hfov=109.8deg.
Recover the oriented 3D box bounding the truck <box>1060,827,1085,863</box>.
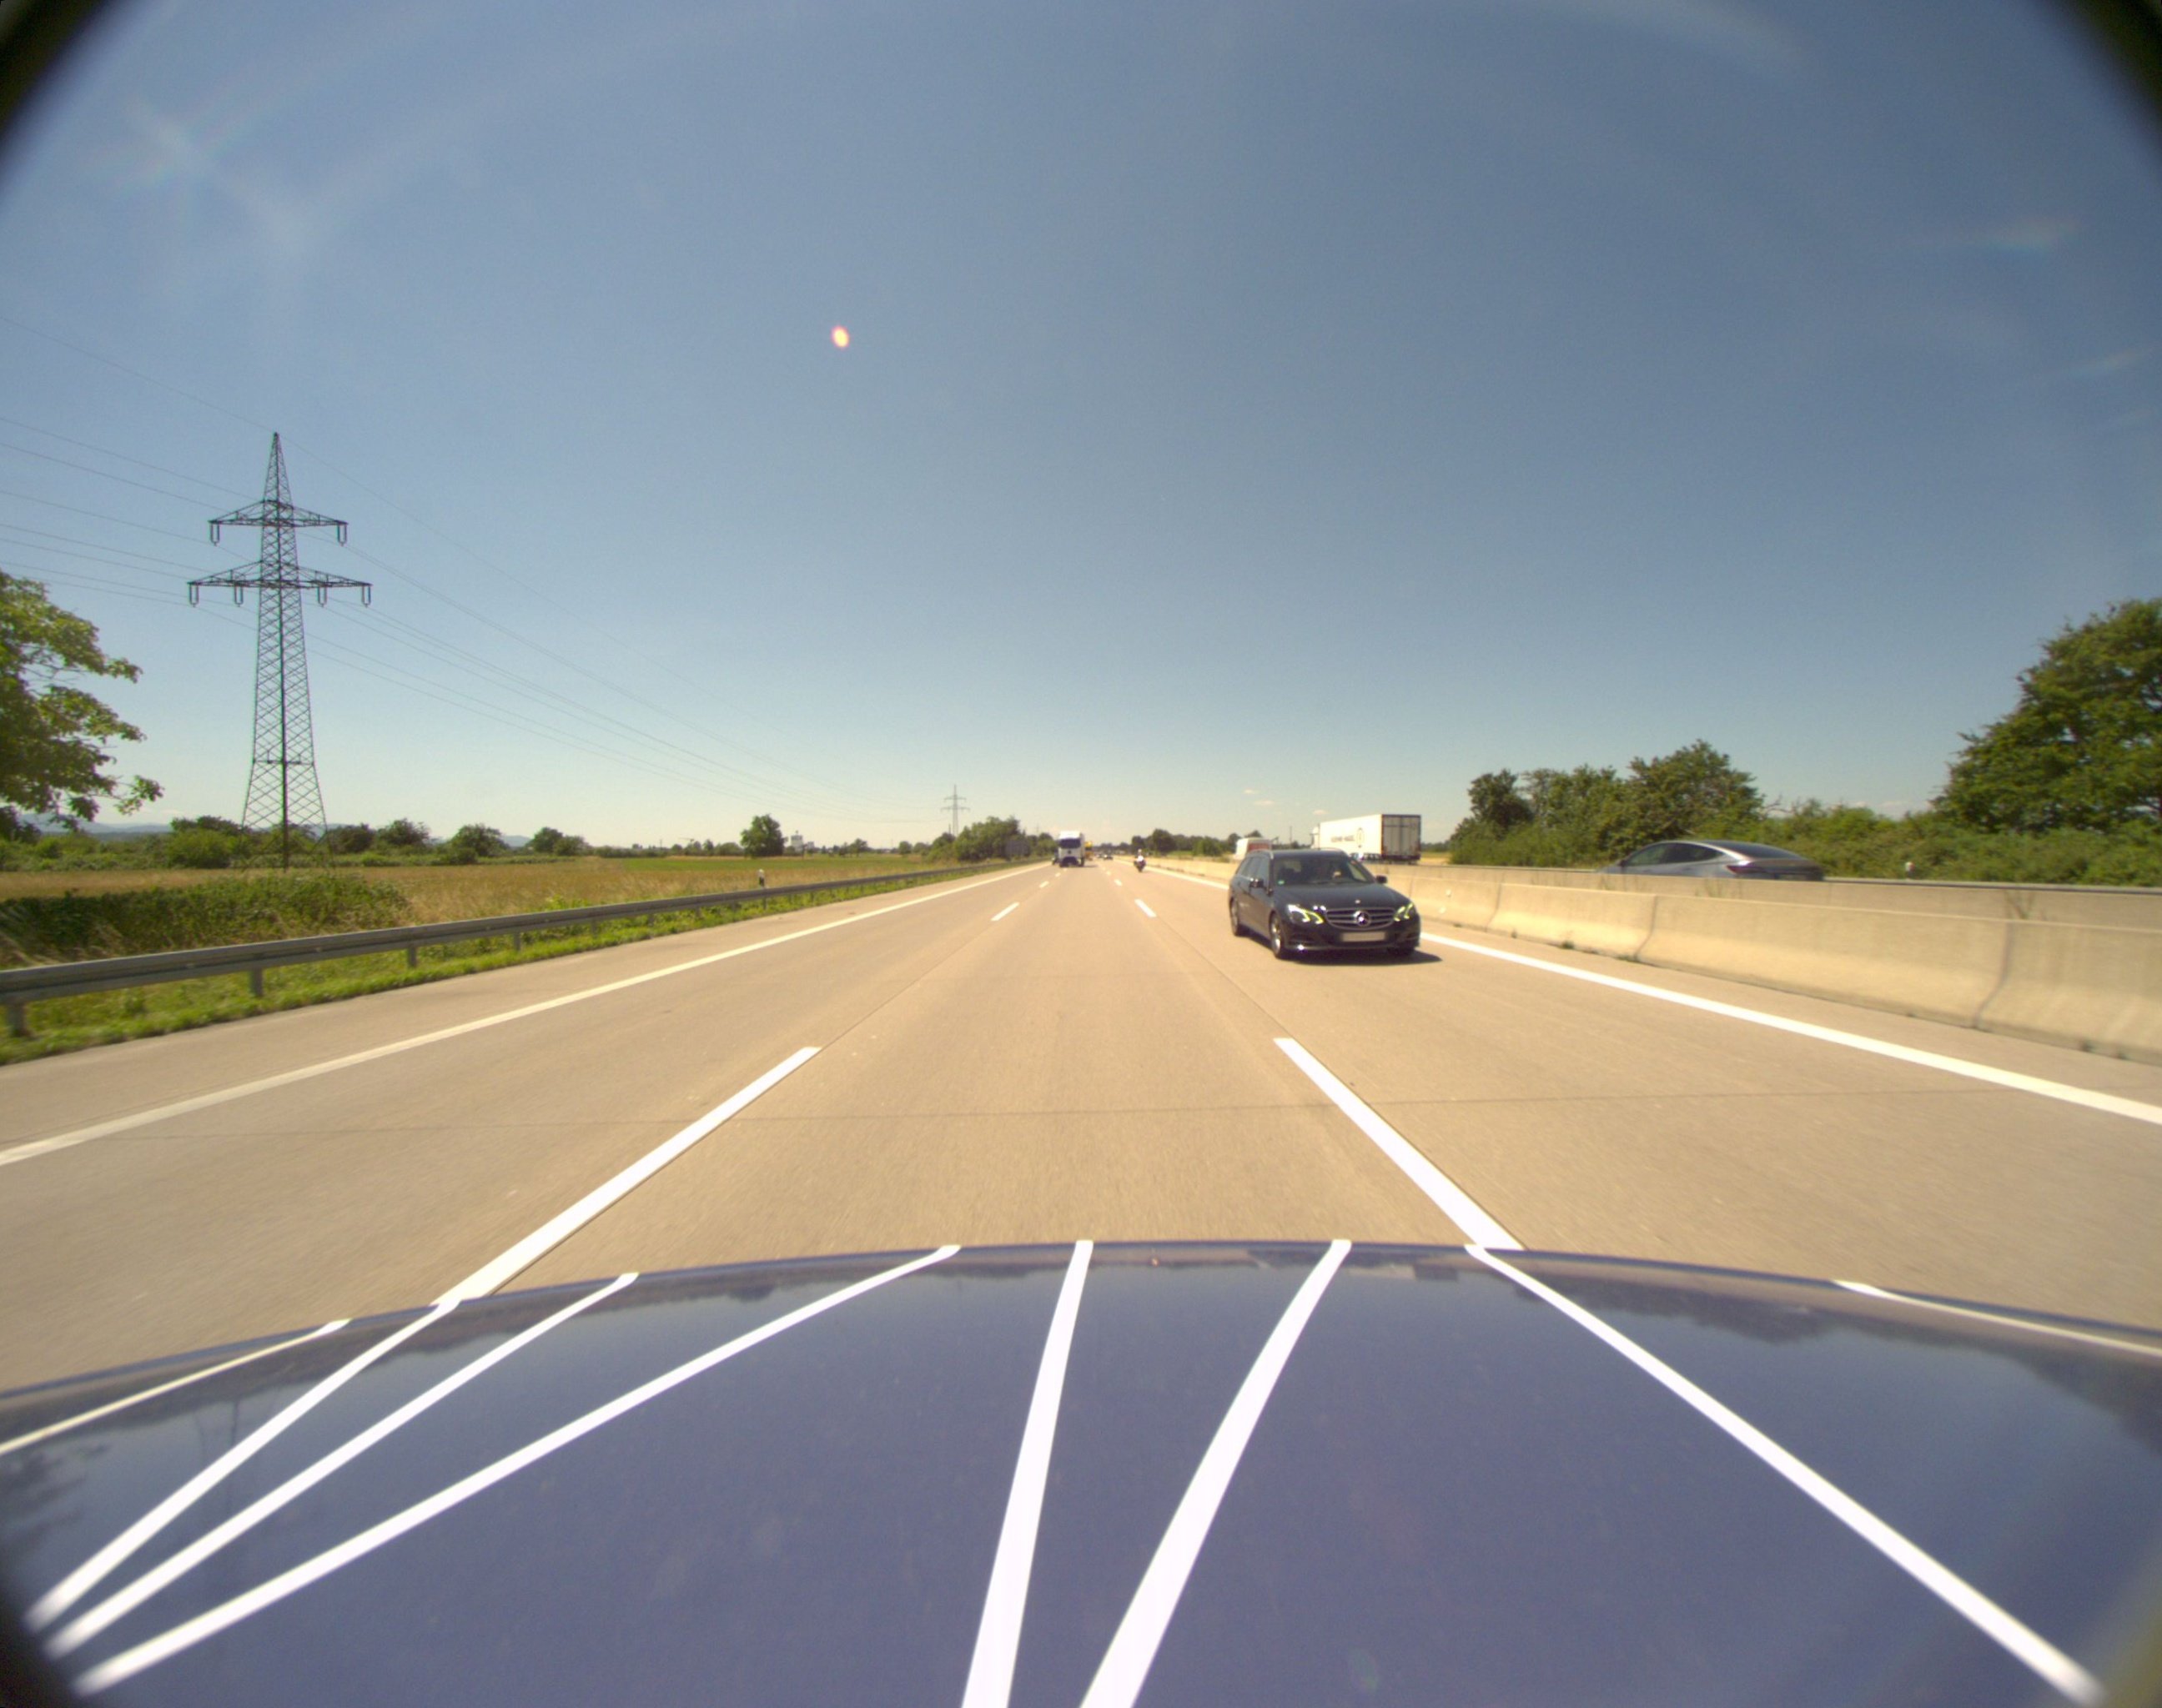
[{"bbox_3d":[-0.896,-1.008,85.482,2.587,3.855,4.983,-2,0,0],"label":"truck"}]

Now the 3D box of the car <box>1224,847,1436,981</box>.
[{"bbox_3d":[3.423,0.733,11.289,1.848,1.576,3.940,-2,0,1],"label":"car"}]

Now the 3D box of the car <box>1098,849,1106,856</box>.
[{"bbox_3d":[6.065,-0.456,217.619,1.999,1.827,4.815,-2,0,-2],"label":"car"}]

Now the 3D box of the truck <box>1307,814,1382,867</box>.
[{"bbox_3d":[21.352,-1.053,62.116,3.169,3.886,8.372,-2,0,0],"label":"truck"}]

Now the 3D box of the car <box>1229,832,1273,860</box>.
[{"bbox_3d":[13.100,-0.610,58.961,2.073,2.002,5.980,-2,0,0],"label":"car"}]

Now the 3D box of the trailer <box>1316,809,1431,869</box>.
[{"bbox_3d":[21.321,-0.995,56.792,3.169,3.816,14.030,-2,0,0],"label":"trailer"}]

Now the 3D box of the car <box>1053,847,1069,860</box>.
[{"bbox_3d":[-2.824,-0.106,109.537,1.998,1.772,4.000,-2,0,3],"label":"car"}]

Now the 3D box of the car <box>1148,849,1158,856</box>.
[{"bbox_3d":[19.706,-0.420,207.954,1.999,1.827,4.815,-2,0,-2],"label":"car"}]

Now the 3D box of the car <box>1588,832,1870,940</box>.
[{"bbox_3d":[12.678,0.547,15.344,1.934,1.783,4.396,-2,0,0],"label":"car"}]

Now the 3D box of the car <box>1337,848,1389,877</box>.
[{"bbox_3d":[17.090,0.492,46.231,1.824,1.652,4.000,-1,0,2],"label":"car"}]

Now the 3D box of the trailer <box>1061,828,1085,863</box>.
[{"bbox_3d":[-0.879,-0.973,90.579,2.587,3.855,10.372,-2,0,0],"label":"trailer"}]

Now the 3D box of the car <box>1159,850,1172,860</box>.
[{"bbox_3d":[16.652,0.193,149.483,1.998,1.871,4.692,-2,0,1],"label":"car"}]

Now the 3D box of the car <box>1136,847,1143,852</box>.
[{"bbox_3d":[20.682,-1.596,268.261,1.998,1.772,4.000,-2,0,0],"label":"car"}]
